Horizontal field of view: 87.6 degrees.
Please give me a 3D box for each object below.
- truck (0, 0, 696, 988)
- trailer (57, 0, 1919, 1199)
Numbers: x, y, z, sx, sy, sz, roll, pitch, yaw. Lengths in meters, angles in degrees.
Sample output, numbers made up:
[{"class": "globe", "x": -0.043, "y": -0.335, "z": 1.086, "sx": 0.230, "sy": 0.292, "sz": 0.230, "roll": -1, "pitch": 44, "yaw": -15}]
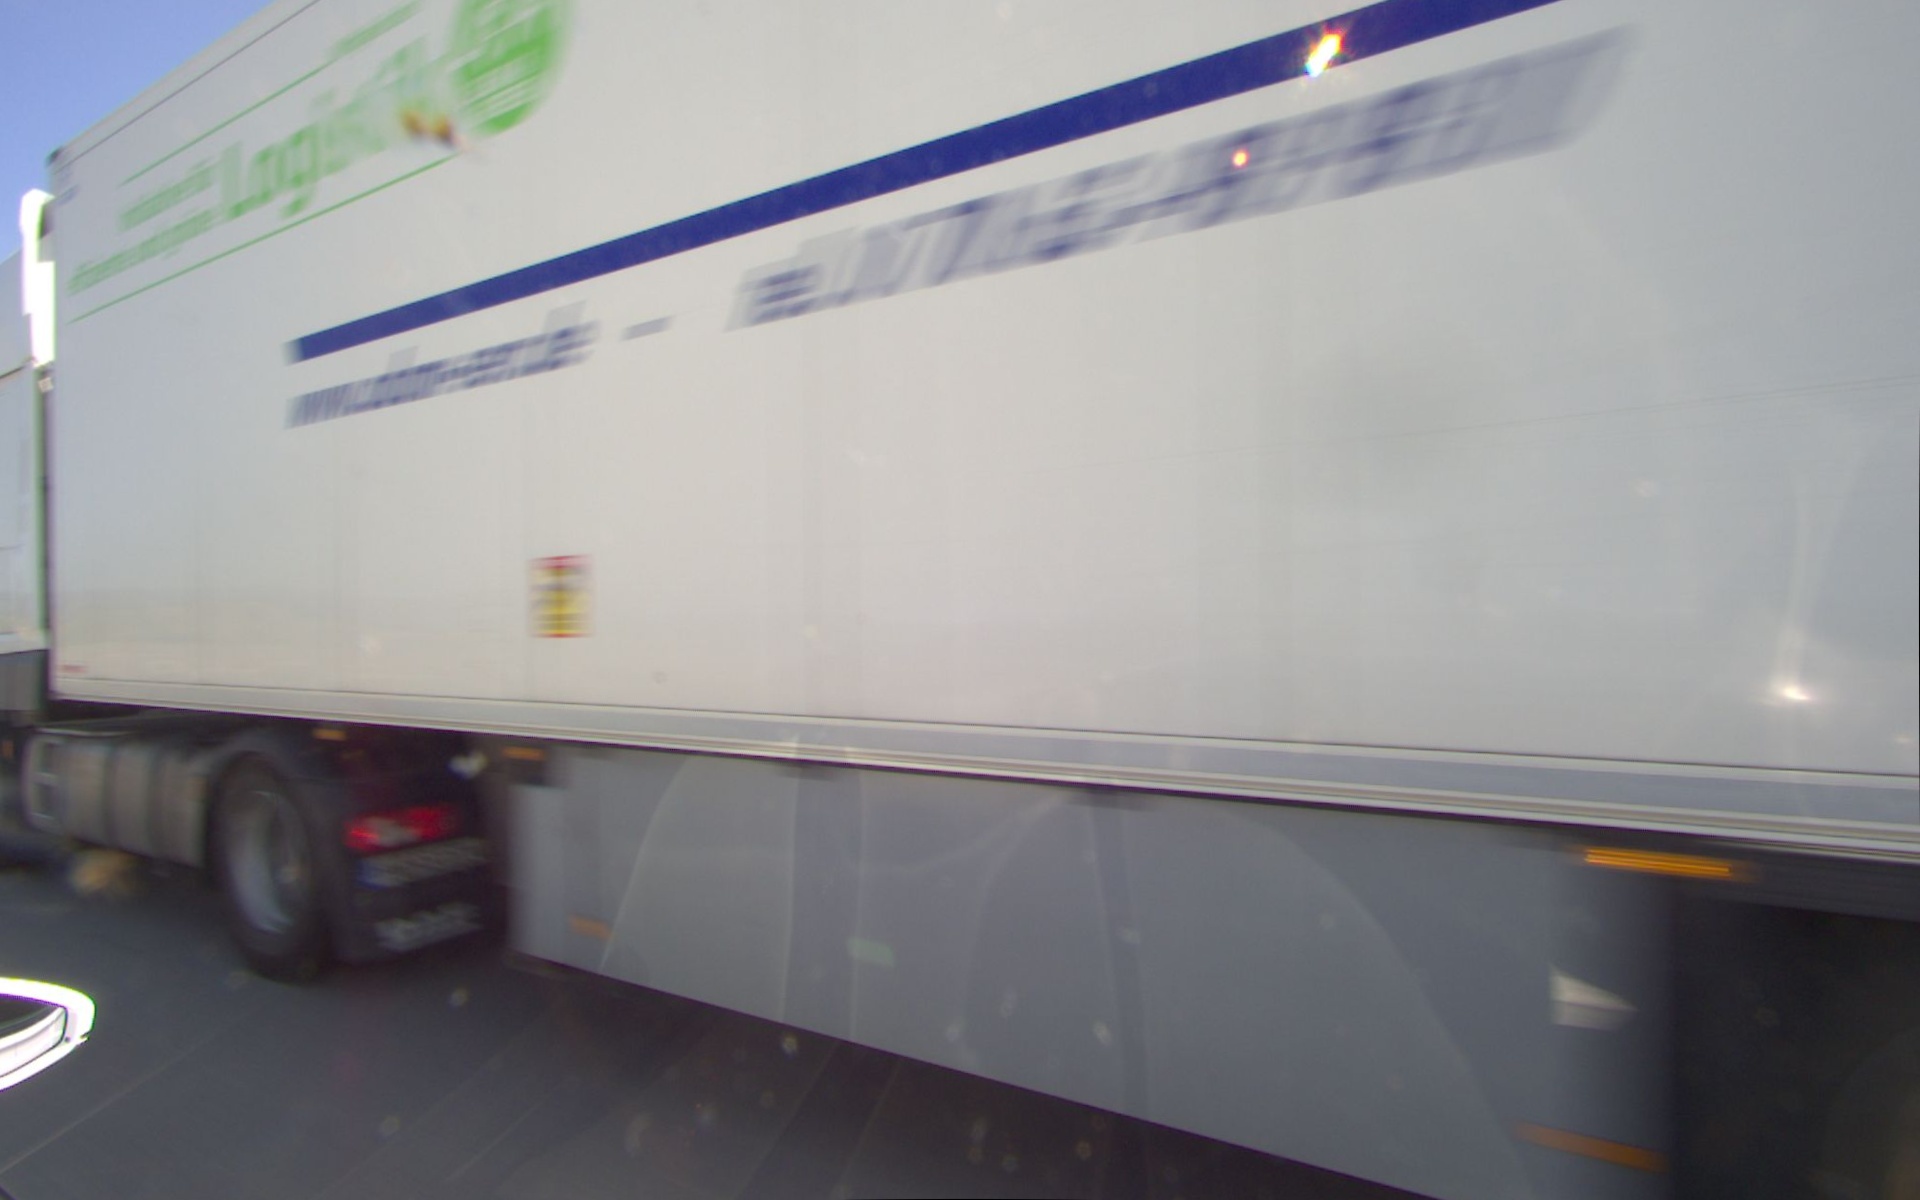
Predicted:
[{"class": "truck", "x": -4.863, "y": -0.407, "z": 6.842, "sx": 5.715, "sy": 4.140, "sz": 2.807, "roll": -1, "pitch": -1, "yaw": 32}, {"class": "trailer", "x": 1.812, "y": -0.525, "z": 2.713, "sx": 12.527, "sy": 4.094, "sz": 2.848, "roll": -1, "pitch": -1, "yaw": 31}]
